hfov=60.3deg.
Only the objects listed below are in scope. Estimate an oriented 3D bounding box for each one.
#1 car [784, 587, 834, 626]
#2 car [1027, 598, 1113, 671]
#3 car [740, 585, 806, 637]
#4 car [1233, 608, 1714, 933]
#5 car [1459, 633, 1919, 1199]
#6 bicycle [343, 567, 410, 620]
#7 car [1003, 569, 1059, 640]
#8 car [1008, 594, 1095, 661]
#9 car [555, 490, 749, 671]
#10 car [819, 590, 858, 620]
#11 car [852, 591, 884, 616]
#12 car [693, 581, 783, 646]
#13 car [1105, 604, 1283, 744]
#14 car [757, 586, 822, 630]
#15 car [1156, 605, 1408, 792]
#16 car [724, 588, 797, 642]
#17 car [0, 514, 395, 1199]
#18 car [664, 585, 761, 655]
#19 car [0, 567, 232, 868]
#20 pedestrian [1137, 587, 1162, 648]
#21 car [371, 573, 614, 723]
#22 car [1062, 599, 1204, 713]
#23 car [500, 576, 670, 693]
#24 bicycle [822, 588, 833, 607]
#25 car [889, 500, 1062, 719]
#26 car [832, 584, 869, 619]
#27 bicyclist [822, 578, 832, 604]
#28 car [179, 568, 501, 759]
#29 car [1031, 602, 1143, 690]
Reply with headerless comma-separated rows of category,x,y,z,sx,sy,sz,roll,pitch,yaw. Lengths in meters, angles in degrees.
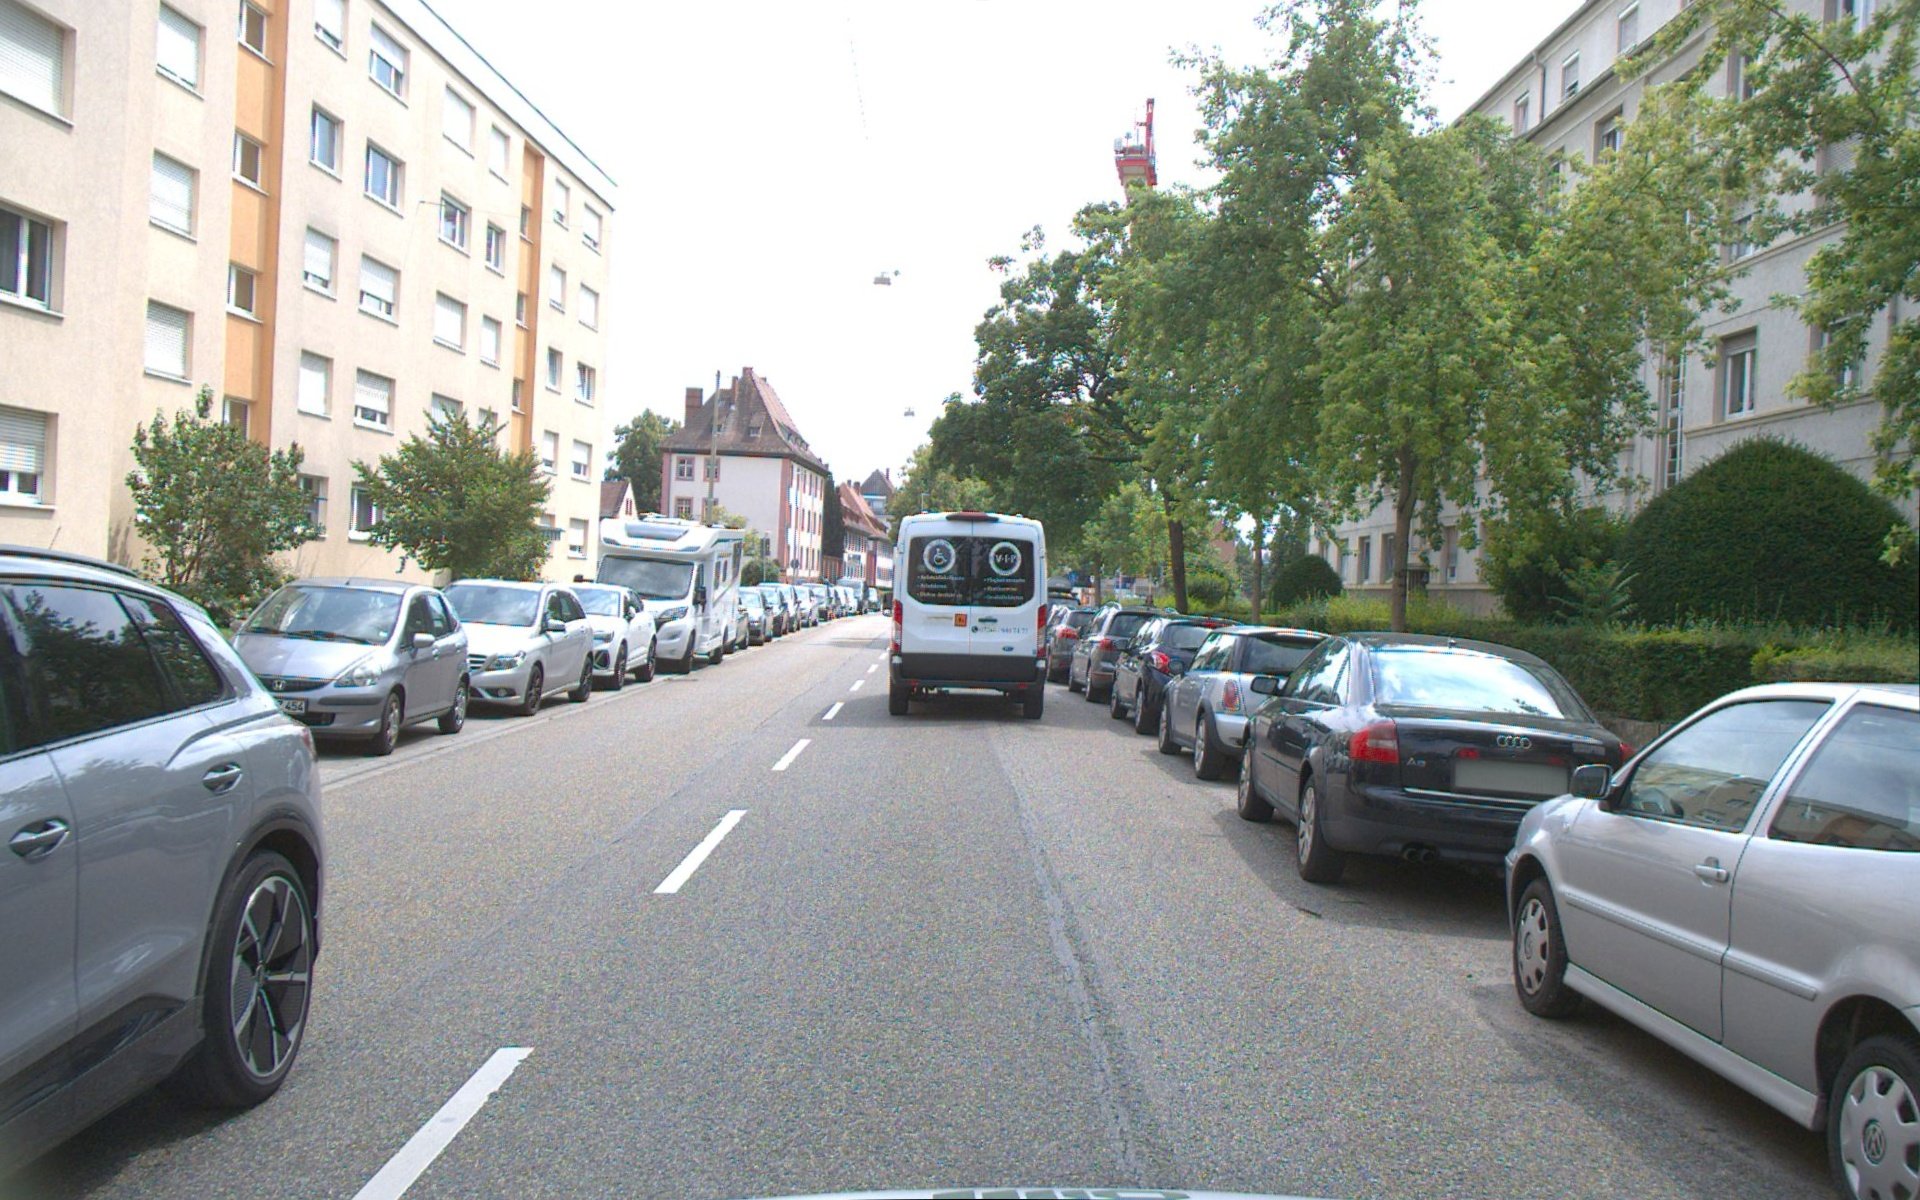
car,-6.621,0.288,72.886,1.749,1.570,3.861,3,0,0
car,2.477,0.756,38.040,1.625,1.482,4.035,3,0,0
car,-6.438,0.351,57.175,1.848,1.607,4.152,3,0,-2
car,2.955,0.864,10.608,1.743,1.495,4.616,4,0,2
car,3.118,0.925,5.419,1.636,1.425,3.850,4,0,-1
bicycle,-11.519,-0.143,32.717,0.443,0.997,2.445,2,1,0
car,2.824,0.172,66.911,1.858,2.631,4.828,4,0,0
car,2.608,0.745,48.294,1.889,1.690,5.322,5,0,-3
car,-5.950,-0.355,33.134,2.460,3.076,7.395,3,0,-1
car,-6.670,0.258,90.834,1.749,1.507,3.861,3,0,0
car,-5.941,0.201,107.281,1.749,1.507,3.861,3,0,0
car,-6.100,0.349,45.962,1.848,1.607,5.218,3,0,-2
car,2.906,0.870,21.286,1.625,1.495,3.889,2,1,-1
car,-6.464,0.287,63.175,1.847,1.514,4.634,3,0,1
car,3.029,0.867,16.288,1.626,1.495,3.725,2,1,-1
car,-6.220,0.448,51.990,1.706,1.522,4.785,3,0,-1
car,-2.808,0.619,3.477,1.781,1.613,4.435,1,0,-1
car,-5.938,0.448,40.102,1.654,1.522,4.593,3,0,-1
car,-5.808,0.579,8.949,1.781,1.509,4.116,3,0,1
pedestrian,5.819,0.548,50.887,0.517,1.860,0.518,1,0,-33
car,-5.812,0.539,21.164,1.719,1.607,4.568,3,0,0
car,2.808,0.863,27.697,1.626,1.610,4.284,5,0,-3
car,-5.841,0.495,26.296,1.654,1.607,4.593,3,0,-1
bicycle,-8.460,-0.165,105.477,0.530,1.195,1.349,1,0,3
car,0.098,0.124,22.211,2.029,2.585,4.632,1,0,-2
car,-6.364,0.092,96.137,1.749,1.858,3.974,3,0,0
bicyclist,-8.465,-0.575,105.149,0.525,1.613,0.692,1,0,3
car,-5.850,0.507,16.127,1.688,1.566,4.003,2,1,-2
car,2.437,0.844,32.680,1.585,1.495,4.389,3,0,-3
